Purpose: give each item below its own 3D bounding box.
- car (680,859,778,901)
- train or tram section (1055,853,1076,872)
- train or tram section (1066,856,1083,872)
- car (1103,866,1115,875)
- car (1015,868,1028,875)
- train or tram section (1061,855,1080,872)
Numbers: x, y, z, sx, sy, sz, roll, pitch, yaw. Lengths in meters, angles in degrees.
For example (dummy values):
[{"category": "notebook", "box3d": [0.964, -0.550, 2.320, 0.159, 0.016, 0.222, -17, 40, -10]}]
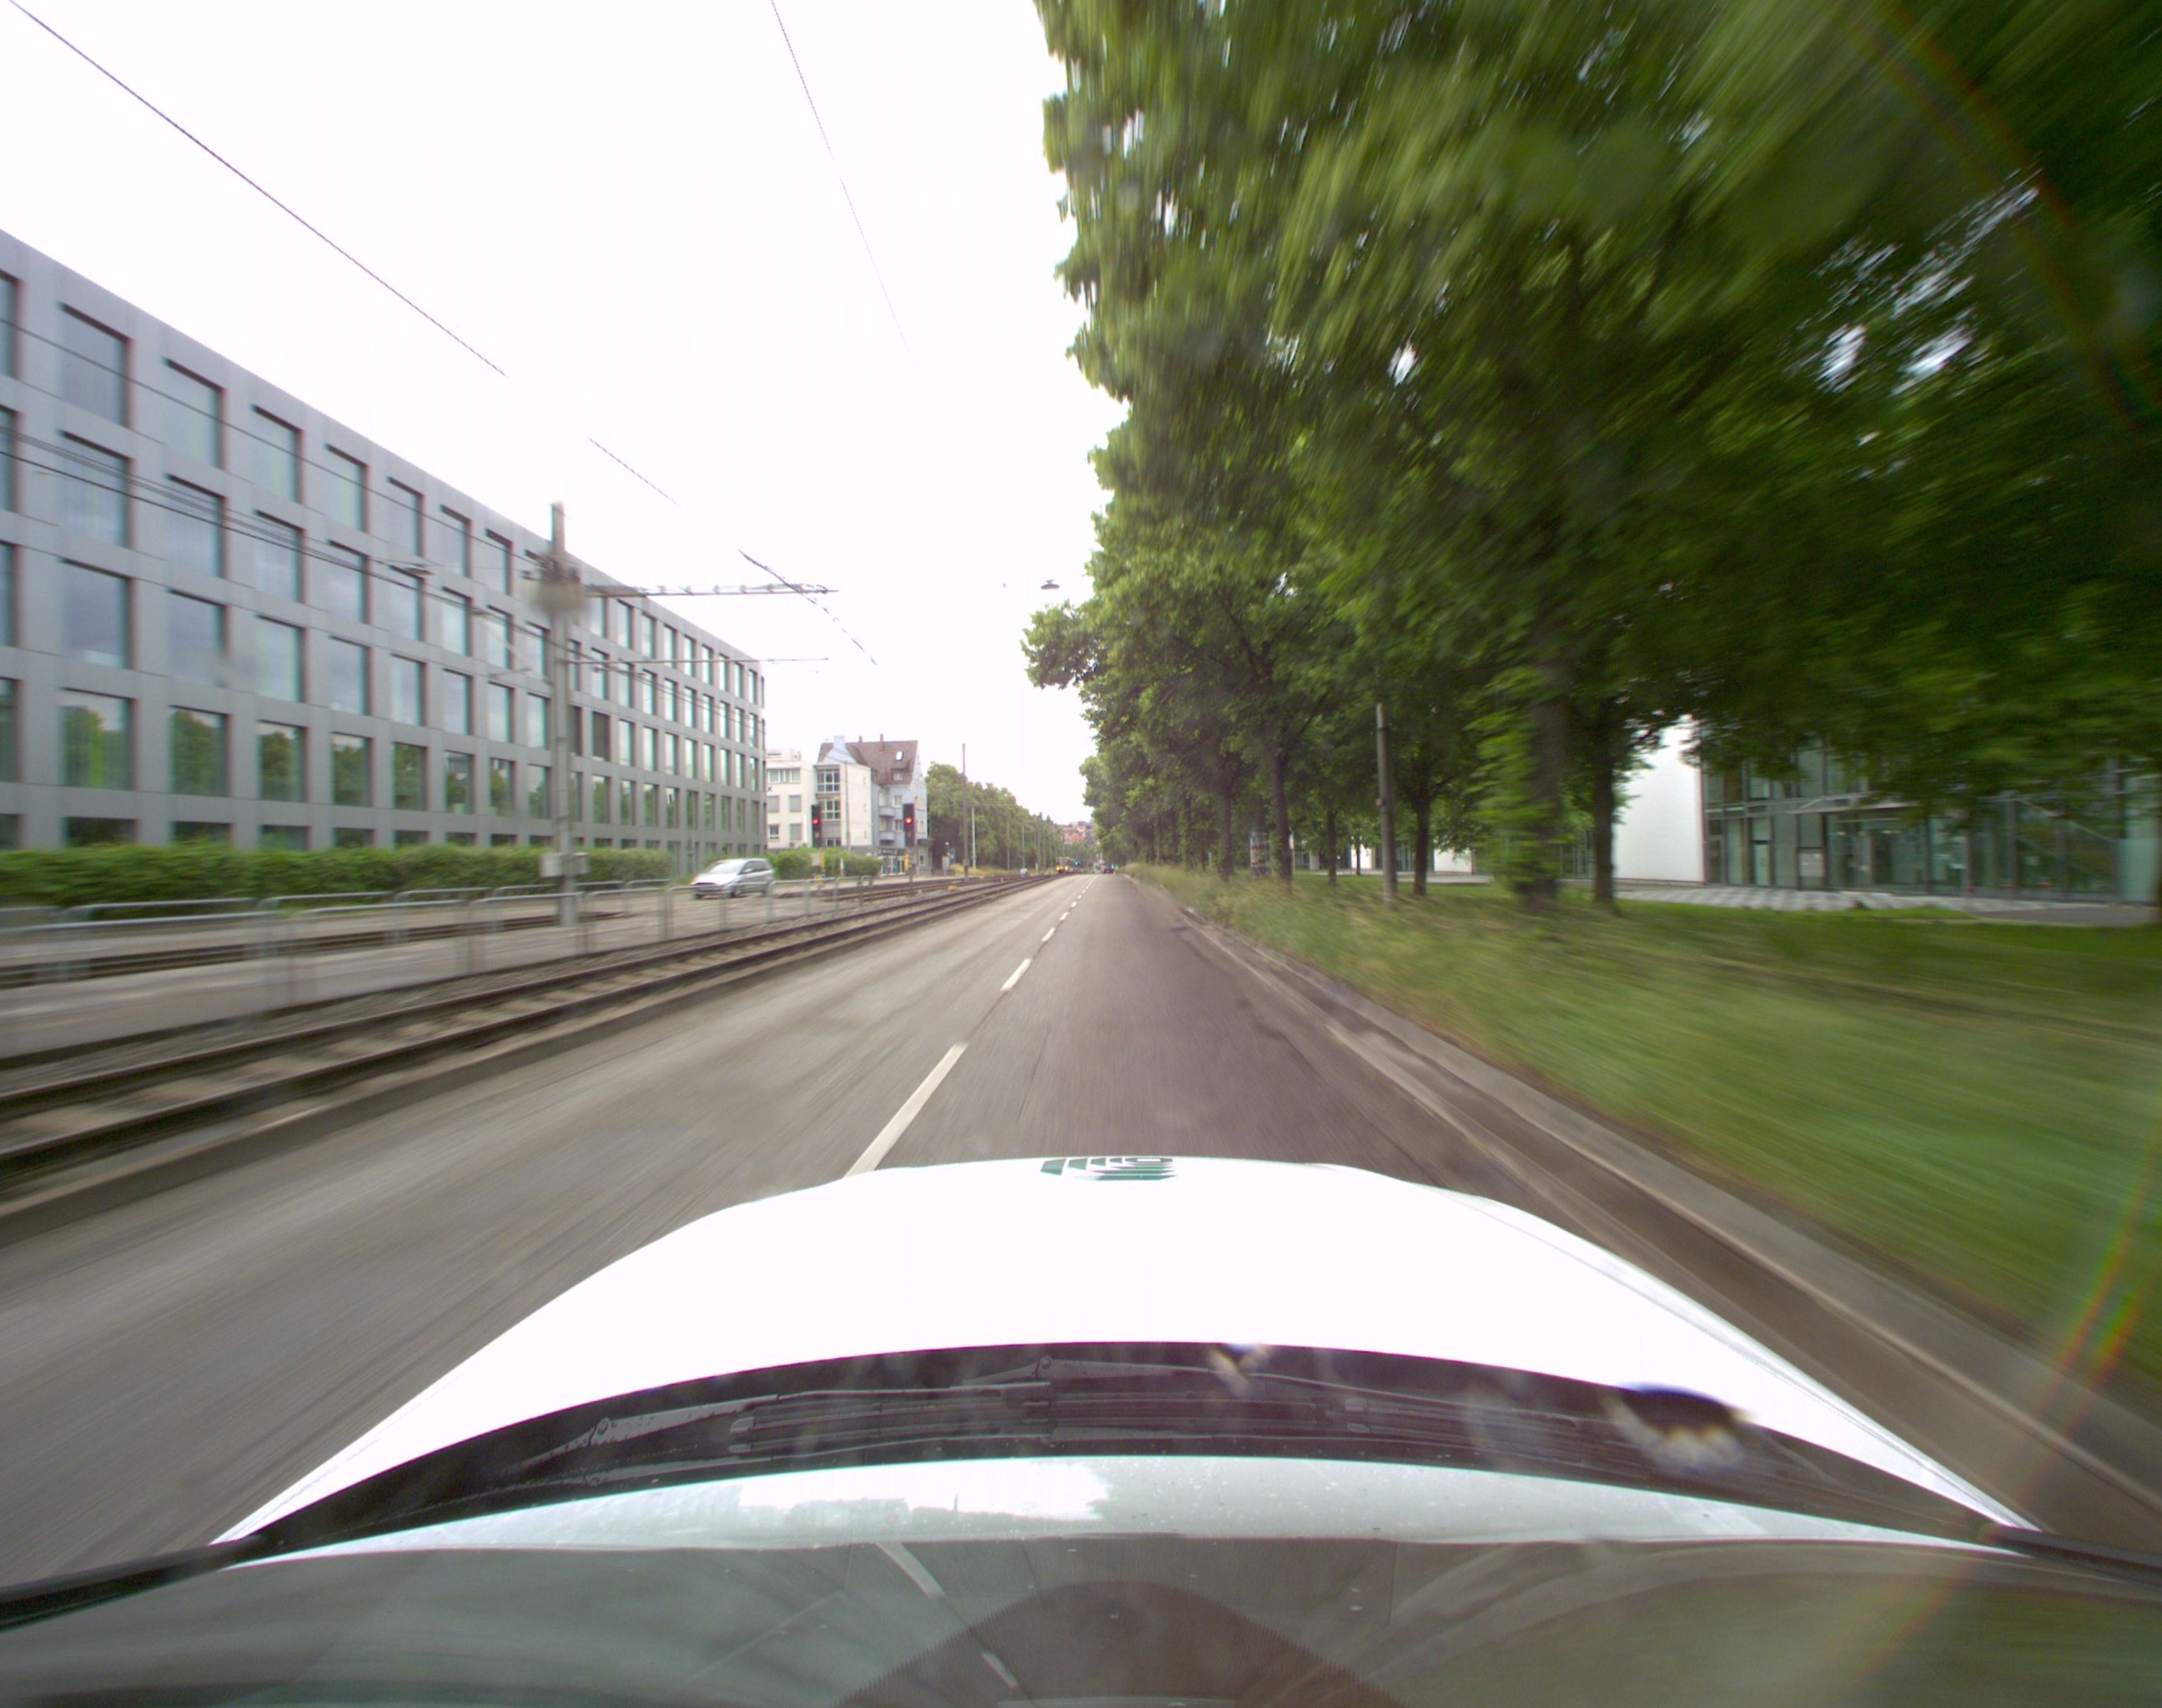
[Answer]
[{"category": "car", "box3d": [-15.163, 1.071, 35.388, 1.894, 1.645, 4.888, -1, 0, 3]}, {"category": "train or tram section", "box3d": [-3.291, 1.968, 177.050, 3.201, 3.797, 14.800, -1, -1, 3]}, {"category": "train or tram section", "box3d": [-1.553, 2.604, 206.745, 3.201, 3.797, 14.800, -1, -1, 3]}, {"category": "car", "box3d": [4.686, 2.775, 136.986, 1.974, 1.440, 4.476, -1, 0, 2]}, {"category": "car", "box3d": [-11.279, 3.343, 154.286, 1.894, 1.325, 4.829, -1, -1, 3]}, {"category": "train or tram section", "box3d": [-2.415, 2.320, 191.868, 3.201, 3.797, 14.800, -1, -1, 3]}]
